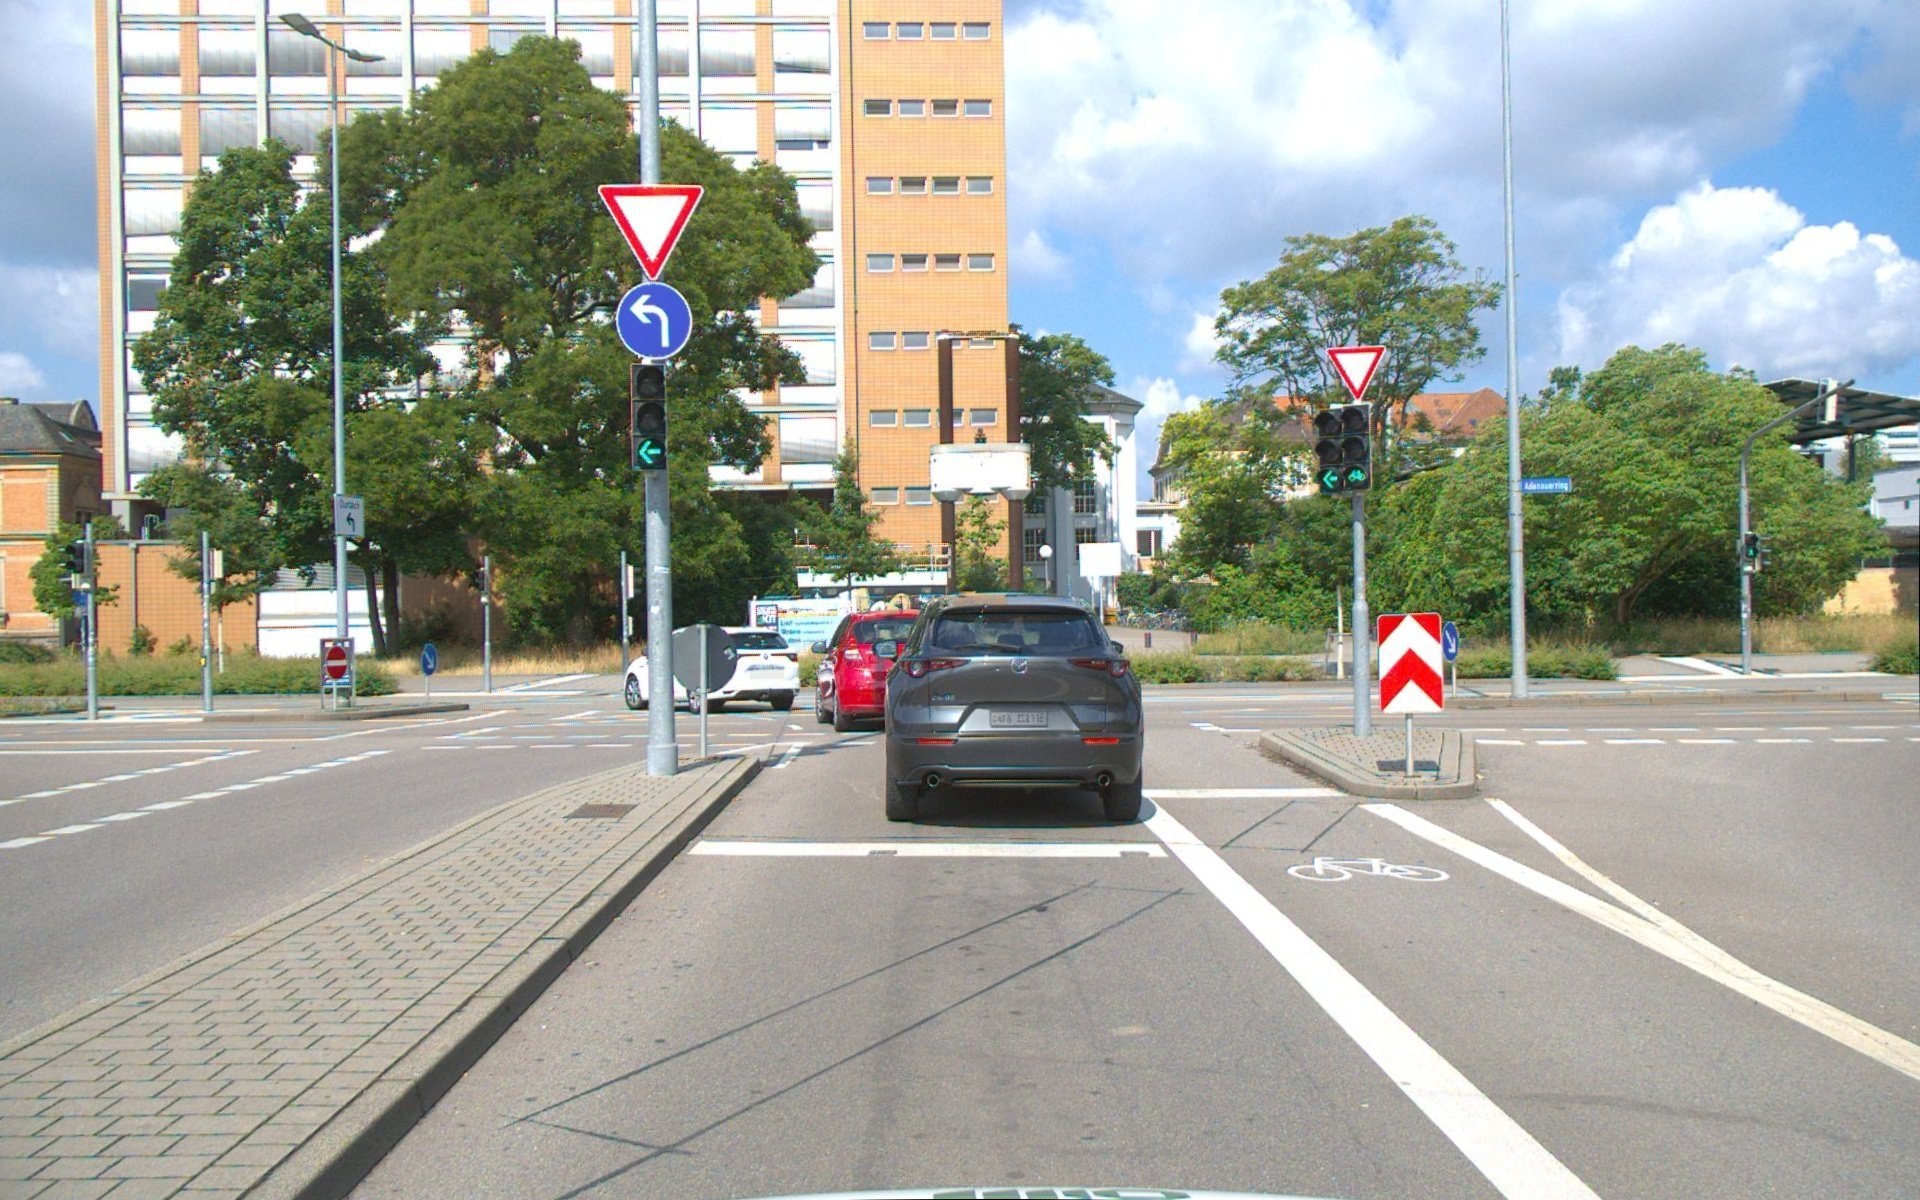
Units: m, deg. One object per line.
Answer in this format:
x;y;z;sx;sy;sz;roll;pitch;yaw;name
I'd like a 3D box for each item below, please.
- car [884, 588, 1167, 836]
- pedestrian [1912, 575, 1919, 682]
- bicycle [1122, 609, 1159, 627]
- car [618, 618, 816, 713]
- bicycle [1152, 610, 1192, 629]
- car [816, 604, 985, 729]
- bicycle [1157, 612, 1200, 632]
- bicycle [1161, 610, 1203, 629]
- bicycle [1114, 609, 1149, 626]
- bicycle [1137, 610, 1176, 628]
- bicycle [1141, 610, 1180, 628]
0.359;0.710;12.591;1.769;1.534;4.203;1;0;-2;car
17.437;0.477;28.932;0.684;1.890;1.177;-1;-3;-12;pedestrian
10.458;1.041;95.867;2.014;0.953;0.804;-1;-1;-2;bicycle
-4.364;1.150;29.208;1.831;1.498;4.285;-1;-1;-33;car
11.229;1.023;87.682;2.014;0.953;0.804;-1;-1;-2;bicycle
-0.871;0.815;21.551;1.782;1.465;4.059;0;-1;-8;car
11.037;1.103;83.689;2.014;0.953;0.804;-1;-1;-2;bicycle
11.589;1.023;86.358;2.014;0.953;0.804;-1;-1;-2;bicycle
10.434;1.057;100.726;2.014;0.953;0.804;-1;-1;-2;bicycle
10.946;1.034;92.142;2.014;0.953;0.804;-1;-1;-2;bicycle
11.043;1.034;91.152;2.014;0.953;0.804;-1;-1;-2;bicycle
